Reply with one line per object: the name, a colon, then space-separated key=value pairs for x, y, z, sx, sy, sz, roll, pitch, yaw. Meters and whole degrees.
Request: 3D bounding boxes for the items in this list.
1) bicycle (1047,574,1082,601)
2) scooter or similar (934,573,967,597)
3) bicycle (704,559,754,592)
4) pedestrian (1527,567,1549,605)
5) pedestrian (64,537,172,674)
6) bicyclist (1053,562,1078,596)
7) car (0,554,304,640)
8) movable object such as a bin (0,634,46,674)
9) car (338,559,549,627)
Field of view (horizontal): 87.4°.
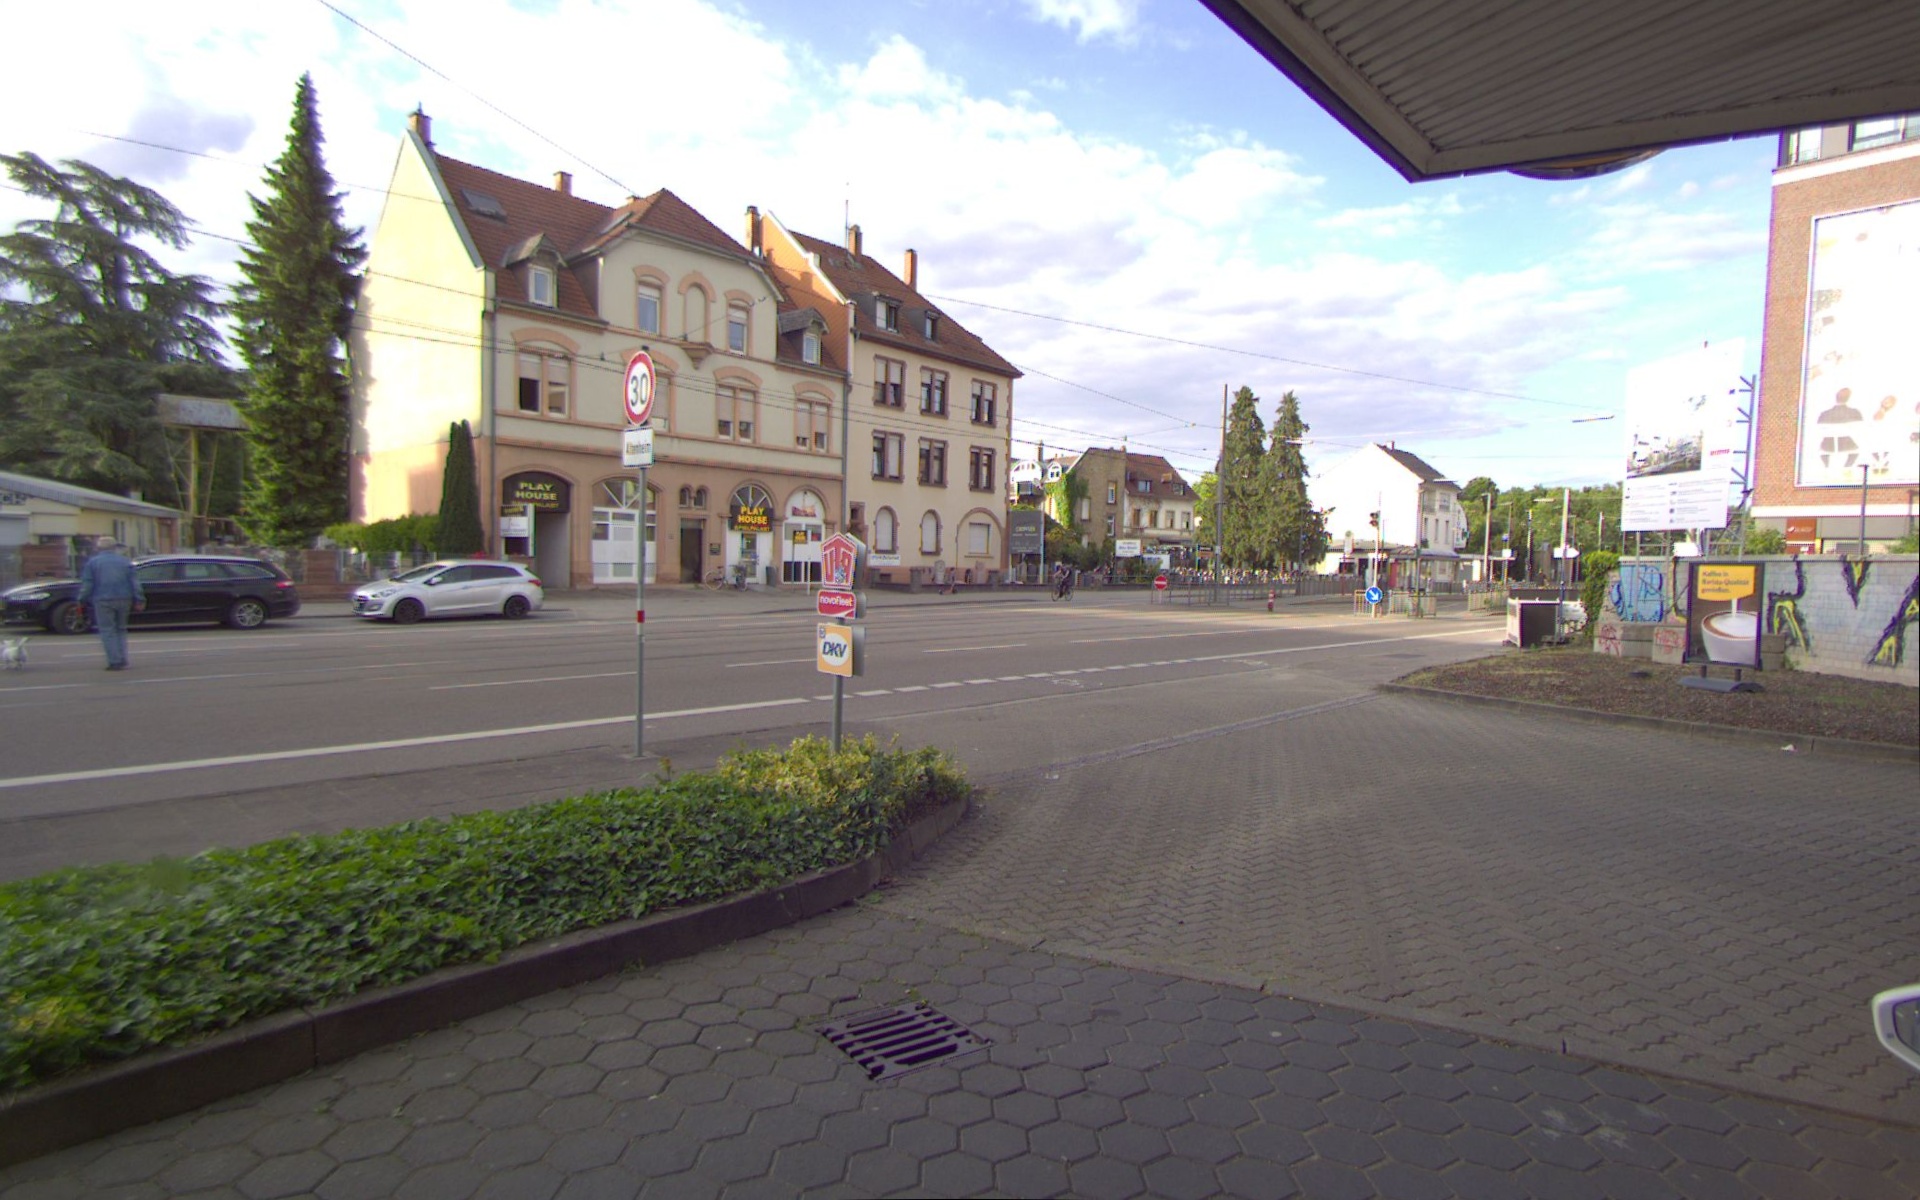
bicycle: x=4.834 y=-0.579 z=46.195 sx=0.670 sy=1.239 sz=1.910 roll=2 pitch=2 yaw=39
scooter or similar: x=-0.432 y=-0.657 z=45.112 sx=0.461 sy=1.041 sz=1.655 roll=4 pitch=3 yaw=40
bicycle: x=-9.103 y=-0.948 z=39.612 sx=0.665 sy=1.229 sz=1.862 roll=4 pitch=2 yaw=41
pedestrian: x=31.200 y=-0.748 z=54.199 sx=0.797 sy=2.040 sz=0.845 roll=2 pitch=0 yaw=44
pedestrian: x=-11.060 y=0.048 z=13.202 sx=0.957 sy=1.690 sz=0.998 roll=5 pitch=4 yaw=44
bicyclist: x=4.845 y=-0.957 z=46.184 sx=0.670 sy=1.555 sz=1.080 roll=2 pitch=2 yaw=39
car: x=-16.598 y=-0.133 z=20.736 sx=1.983 sy=1.520 sz=4.755 roll=4 pitch=4 yaw=39
movable object such as a bin: x=-12.216 y=0.692 z=12.997 sx=0.669 sy=0.426 sz=0.479 roll=4 pitch=3 yaw=38
car: x=-12.917 y=-0.228 z=25.358 sx=1.699 sy=1.503 sz=4.434 roll=4 pitch=4 yaw=40
